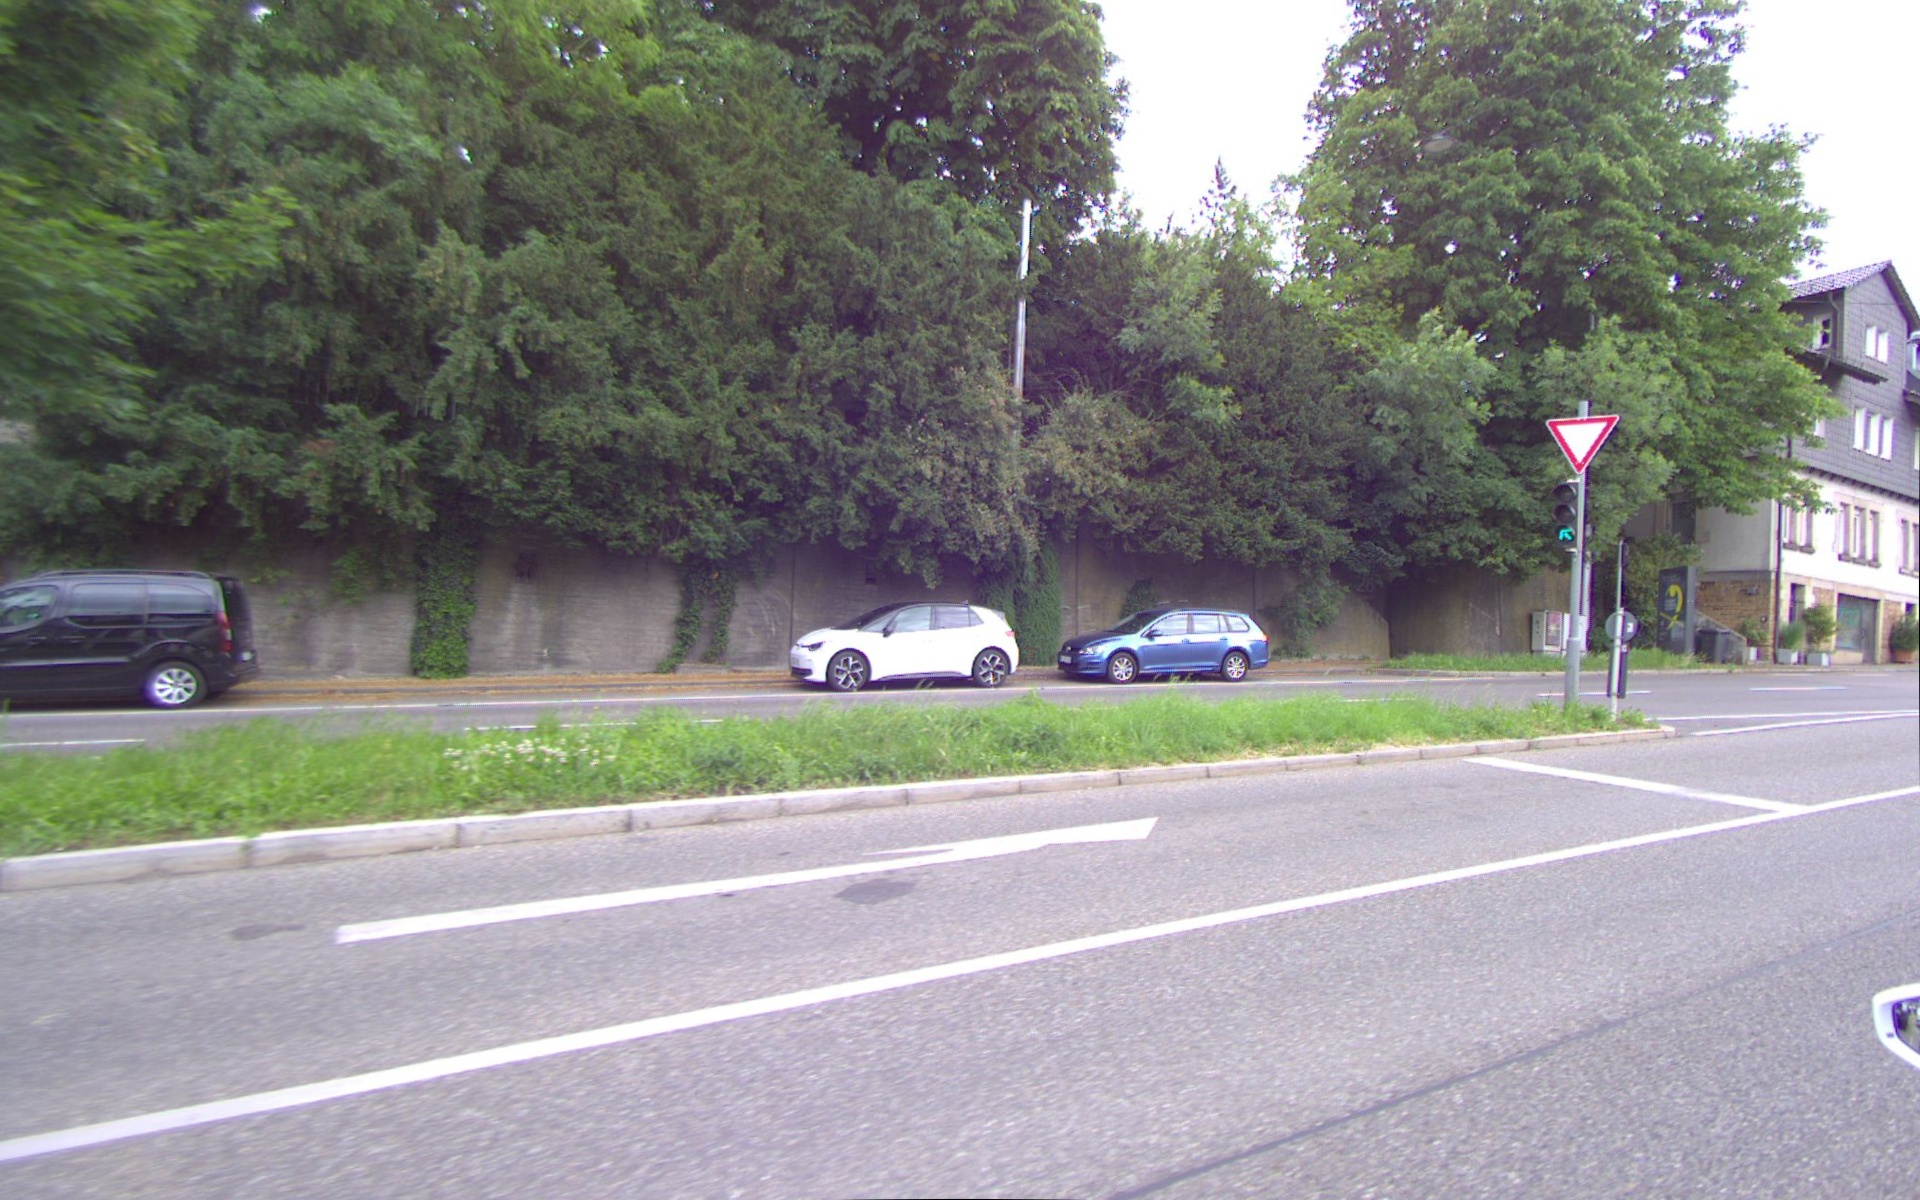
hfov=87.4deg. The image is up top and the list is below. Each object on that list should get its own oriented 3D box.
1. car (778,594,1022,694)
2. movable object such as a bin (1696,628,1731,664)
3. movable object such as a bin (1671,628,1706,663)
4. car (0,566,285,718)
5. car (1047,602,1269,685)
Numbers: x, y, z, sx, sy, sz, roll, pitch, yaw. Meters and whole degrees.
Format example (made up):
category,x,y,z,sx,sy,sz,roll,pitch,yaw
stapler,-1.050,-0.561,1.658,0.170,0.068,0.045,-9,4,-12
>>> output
category,x,y,z,sx,sy,sz,roll,pitch,yaw
car,-1.096,0.750,18.460,4.114,1.651,1.774,0,1,-25
movable object such as a bin,22.604,1.386,30.149,0.636,1.032,0.538,3,-1,-16
movable object such as a bin,22.411,1.384,30.887,0.636,1.032,0.577,3,-1,-16
car,-11.766,0.506,13.338,4.429,1.867,1.773,0,1,-27
car,4.059,0.847,20.628,4.237,1.549,1.709,0,1,-22
